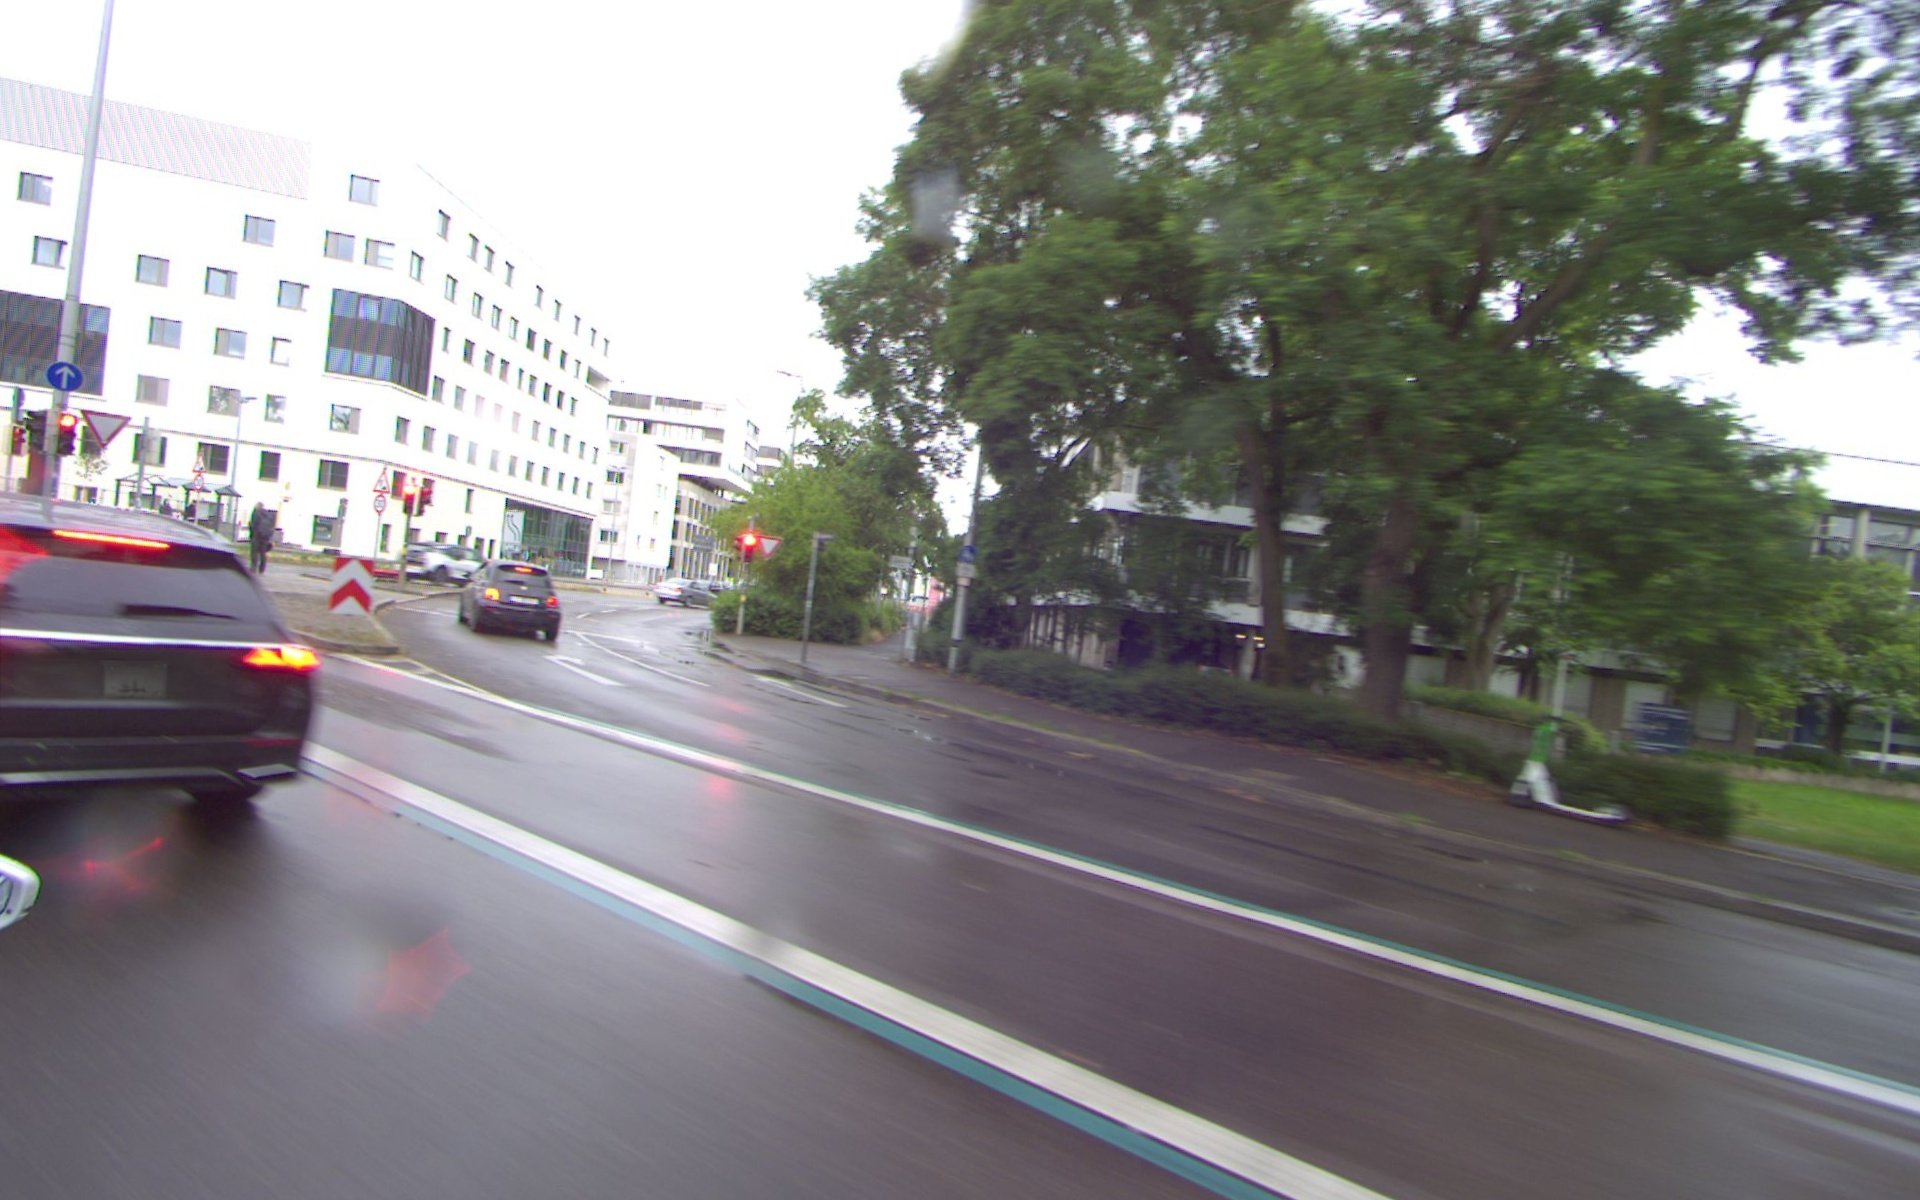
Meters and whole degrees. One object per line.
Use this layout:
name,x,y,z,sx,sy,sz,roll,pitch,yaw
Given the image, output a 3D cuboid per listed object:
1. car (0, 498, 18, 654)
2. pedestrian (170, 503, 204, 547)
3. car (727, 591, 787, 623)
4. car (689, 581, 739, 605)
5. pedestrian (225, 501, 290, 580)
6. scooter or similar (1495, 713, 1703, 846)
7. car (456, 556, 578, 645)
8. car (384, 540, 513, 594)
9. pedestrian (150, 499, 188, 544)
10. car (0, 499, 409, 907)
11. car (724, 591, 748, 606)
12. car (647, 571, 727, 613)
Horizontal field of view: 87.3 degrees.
car,-10.866,-0.471,9.423,4.436,1.484,1.673,8,0,30
pedestrian,-37.166,-3.608,48.373,0.941,1.958,1.000,5,-2,43
car,-13.890,0.490,69.212,1.833,1.669,4.782,6,-2,18
car,-19.046,-0.536,78.071,1.962,1.395,4.390,7,-1,12
pedestrian,-18.527,-1.575,26.530,1.009,1.914,0.830,6,-1,25
scooter or similar,7.369,2.027,11.700,0.552,1.116,1.872,3,3,-35
car,-9.473,-0.050,21.341,1.848,1.467,3.969,8,-1,-30
car,-18.952,-1.190,37.470,1.833,1.437,4.003,6,-2,20
pedestrian,-36.210,-3.595,46.053,0.809,1.861,0.954,6,-1,22
car,-5.185,0.196,5.349,4.852,1.462,1.881,7,-1,35
car,-23.852,-0.165,107.265,1.965,1.395,4.383,7,-1,-7
car,-14.428,-0.390,53.421,1.832,1.669,4.783,6,-2,15
